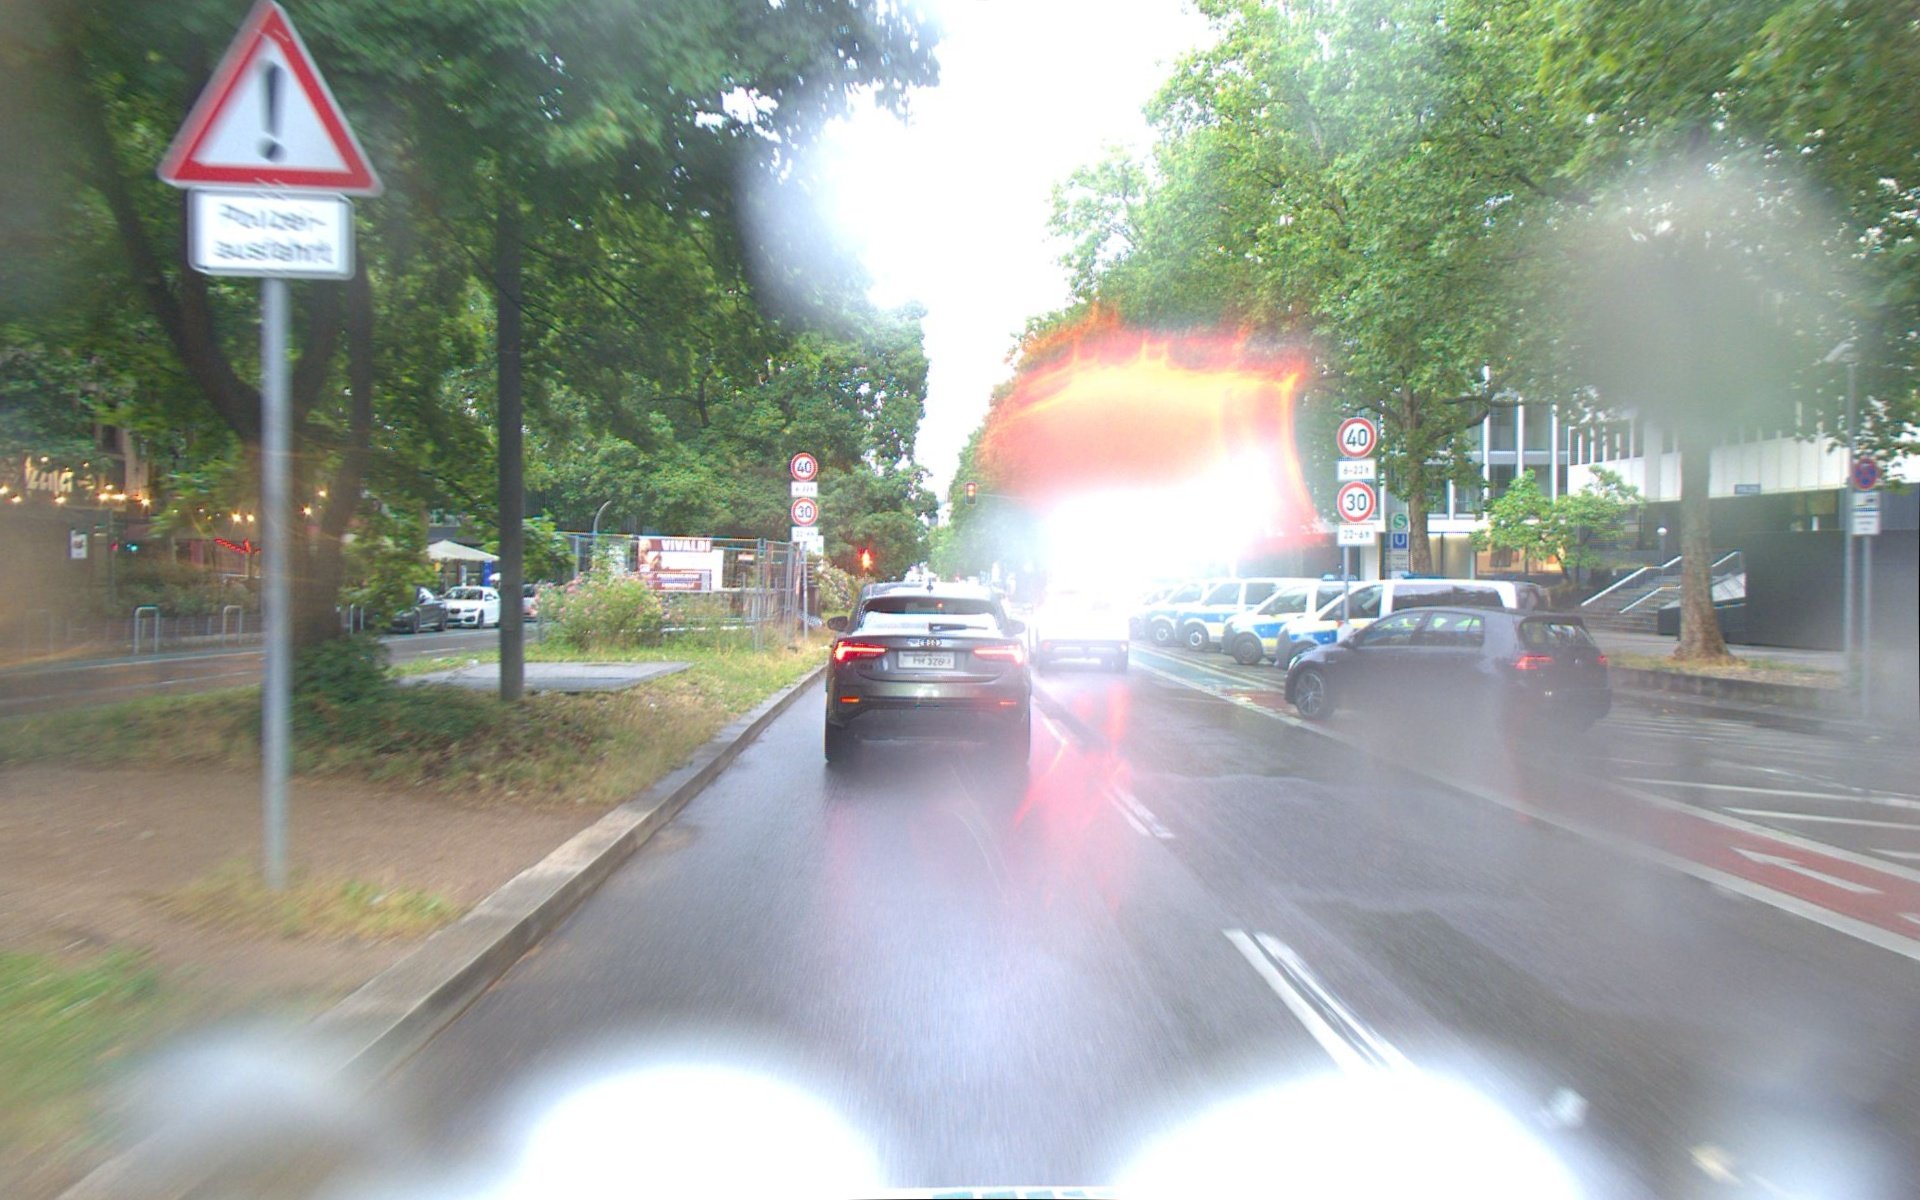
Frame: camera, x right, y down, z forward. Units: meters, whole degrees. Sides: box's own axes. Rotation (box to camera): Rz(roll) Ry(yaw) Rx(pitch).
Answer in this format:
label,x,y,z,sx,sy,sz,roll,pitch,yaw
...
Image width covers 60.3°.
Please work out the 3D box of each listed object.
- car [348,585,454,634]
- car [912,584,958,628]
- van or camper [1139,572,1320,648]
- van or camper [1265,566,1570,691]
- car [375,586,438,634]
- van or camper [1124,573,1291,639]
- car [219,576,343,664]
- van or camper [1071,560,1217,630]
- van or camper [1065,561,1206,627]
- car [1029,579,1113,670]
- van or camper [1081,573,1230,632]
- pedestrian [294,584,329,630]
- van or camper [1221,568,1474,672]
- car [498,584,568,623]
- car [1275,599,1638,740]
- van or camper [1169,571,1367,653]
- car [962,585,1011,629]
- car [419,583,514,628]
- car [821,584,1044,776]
label,x,y,z,sx,sy,sz,roll,pitch,yaw
car,-16.995,0.274,50.497,1.788,1.419,4.483,0,0,-1
car,-0.983,0.218,62.705,1.687,1.605,3.960,0,1,-2
van or camper,7.618,0.258,46.969,4.697,2.046,1.993,1,0,35
van or camper,8.119,0.446,29.557,4.850,2.026,1.994,1,0,37
car,-16.754,0.289,50.130,1.029,1.412,2.693,0,1,-1
van or camper,8.017,0.158,53.759,5.006,2.060,2.098,1,1,37
car,-13.632,0.348,33.426,1.690,1.654,4.424,1,1,-14
van or camper,7.455,-0.213,67.442,5.692,2.727,1.994,0,0,34
van or camper,7.487,-0.294,70.785,5.700,2.724,2.139,1,0,36
car,2.152,0.440,32.648,1.404,1.714,2.978,0,1,-1
van or camper,7.173,0.072,60.927,5.101,2.027,1.994,1,0,33
pedestrian,-19.978,0.212,50.930,0.748,1.404,0.932,1,0,-4
van or camper,8.406,0.380,36.107,4.986,2.054,1.990,2,1,35
car,-17.495,0.111,67.986,1.954,1.535,4.515,0,1,-3
car,5.732,0.730,19.526,1.748,1.437,3.955,-1,1,-32
van or camper,7.979,0.271,43.064,4.756,2.033,1.861,1,0,36
car,1.115,0.272,70.671,1.953,1.780,3.999,0,1,-1
car,-17.083,0.166,57.469,1.953,1.394,4.539,2,1,-1
car,-0.228,0.639,15.878,1.825,1.559,4.526,0,1,0
